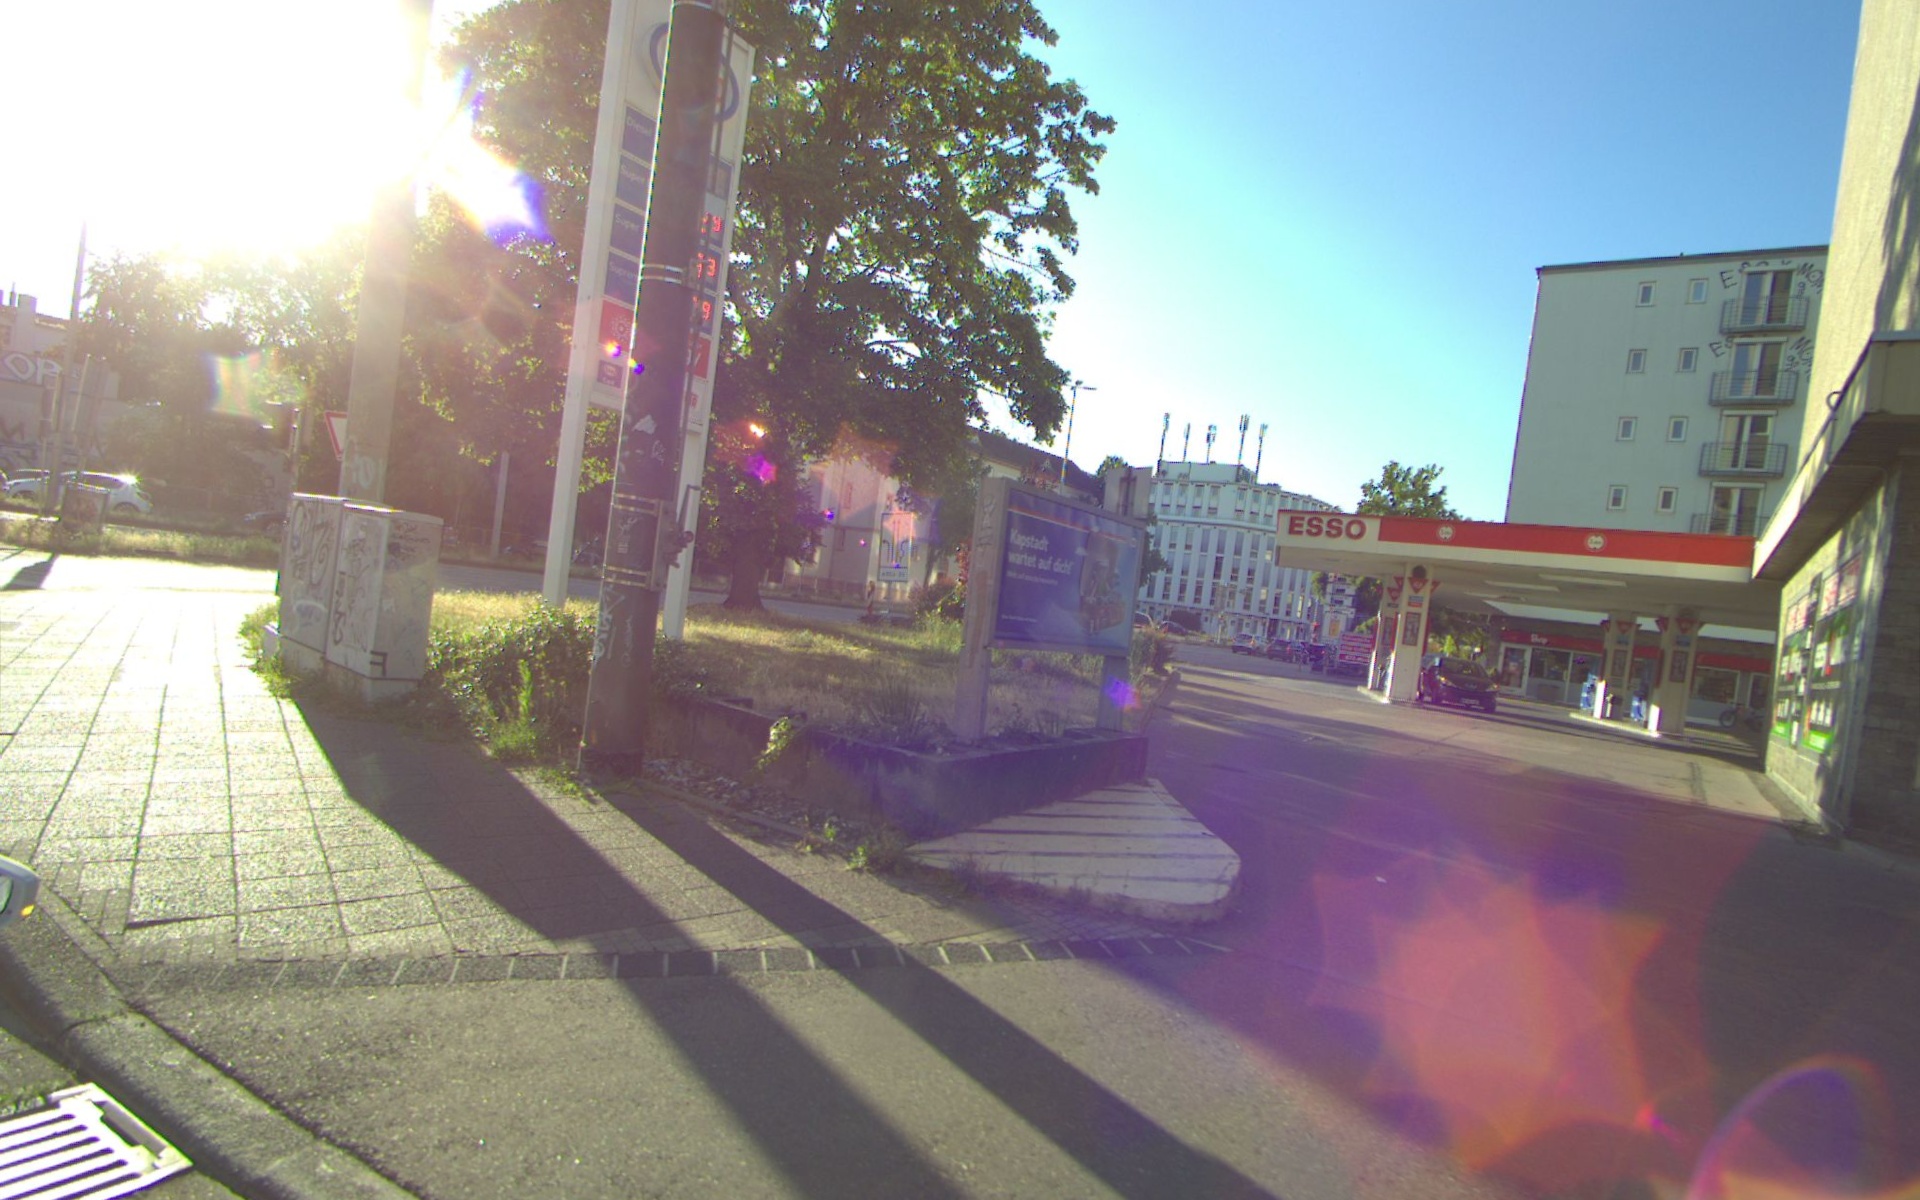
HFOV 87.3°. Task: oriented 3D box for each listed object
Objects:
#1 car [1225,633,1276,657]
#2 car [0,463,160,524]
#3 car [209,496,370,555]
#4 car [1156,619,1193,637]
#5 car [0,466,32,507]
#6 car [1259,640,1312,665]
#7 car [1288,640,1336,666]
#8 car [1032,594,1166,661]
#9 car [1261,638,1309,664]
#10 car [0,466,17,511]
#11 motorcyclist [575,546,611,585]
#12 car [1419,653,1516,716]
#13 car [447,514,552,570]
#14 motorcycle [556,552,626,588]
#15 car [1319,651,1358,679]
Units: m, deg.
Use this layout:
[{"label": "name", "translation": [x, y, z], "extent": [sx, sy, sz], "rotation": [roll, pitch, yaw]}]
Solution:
[{"label": "car", "translation": [20.557, 3.181, 71.099], "extent": [1.971, 1.372, 3.980], "rotation": [8, 2, 40]}, {"label": "car", "translation": [-29.401, -3.528, 33.726], "extent": [3.862, 1.335, 1.706], "rotation": [7, 0, -37]}, {"label": "car", "translation": [-22.538, -2.498, 33.946], "extent": [4.337, 1.312, 1.707], "rotation": [8, 0, -35]}, {"label": "car", "translation": [24.964, 3.281, 117.048], "extent": [3.767, 1.593, 1.702], "rotation": [7, 1, 22]}, {"label": "car", "translation": [-34.904, -4.186, 34.821], "extent": [3.862, 1.312, 1.706], "rotation": [7, 0, -37]}, {"label": "car", "translation": [22.193, 3.574, 68.449], "extent": [1.971, 1.372, 3.980], "rotation": [8, 2, 40]}, {"label": "car", "translation": [25.503, 3.839, 72.796], "extent": [1.906, 1.504, 3.983], "rotation": [8, 1, 40]}, {"label": "car", "translation": [4.330, 0.870, 31.060], "extent": [3.967, 1.593, 1.685], "rotation": [7, 0, -38]}, {"label": "car", "translation": [24.398, 3.817, 75.458], "extent": [1.906, 1.504, 3.983], "rotation": [8, 1, 40]}, {"label": "car", "translation": [-30.111, -3.540, 28.794], "extent": [4.208, 1.312, 1.708], "rotation": [8, 0, -34]}, {"label": "motorcyclist", "translation": [-14.904, -1.412, 40.815], "extent": [1.052, 1.415, 0.846], "rotation": [7, 1, -35]}, {"label": "car", "translation": [15.085, 2.460, 30.111], "extent": [1.963, 1.372, 3.996], "rotation": [7, 2, 20]}, {"label": "car", "translation": [-20.754, -2.577, 45.395], "extent": [3.961, 1.814, 1.735], "rotation": [9, -2, -32]}, {"label": "motorcycle", "translation": [-14.934, -1.206, 40.793], "extent": [2.447, 1.121, 0.853], "rotation": [7, 1, -36]}, {"label": "car", "translation": [32.120, 5.526, 85.318], "extent": [1.827, 1.871, 3.987], "rotation": [6, -3, 40]}]
